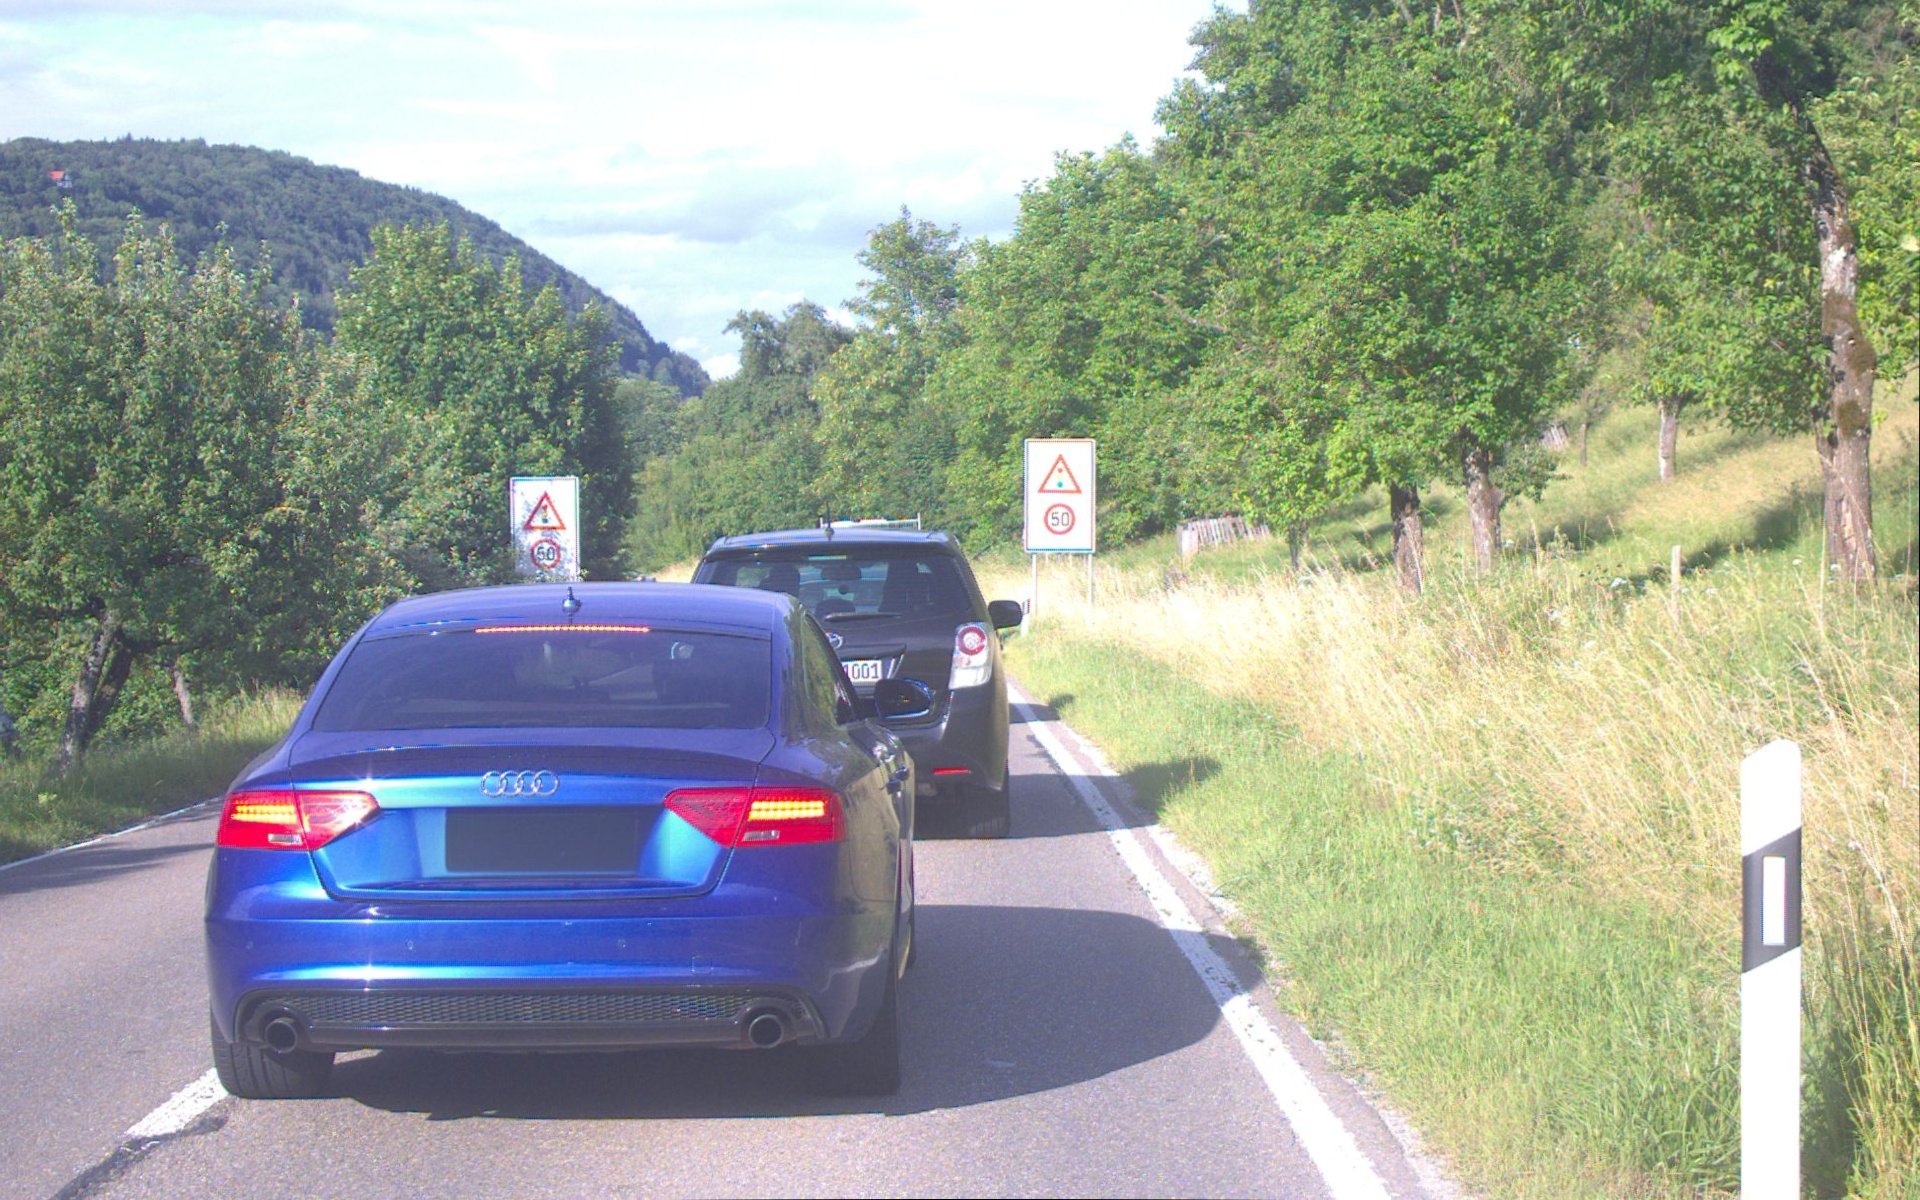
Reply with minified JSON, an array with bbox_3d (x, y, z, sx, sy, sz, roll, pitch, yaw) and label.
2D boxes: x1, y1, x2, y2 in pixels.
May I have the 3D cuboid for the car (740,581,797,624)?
[{"bbox_3d":[-7.083,0.068,127.008,1.747,1.490,3.779,1,1,-8],"label":"car"}]

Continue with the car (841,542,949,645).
[{"bbox_3d":[-1.045,-0.131,55.936,1.692,1.618,3.789,0,1,-1],"label":"car"}]

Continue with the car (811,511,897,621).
[{"bbox_3d":[-2.482,-0.788,79.733,1.792,2.445,3.920,1,1,-4],"label":"car"}]

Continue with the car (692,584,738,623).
[{"bbox_3d":[-10.126,0.147,141.970,1.558,1.490,3.779,1,1,-9],"label":"car"}]

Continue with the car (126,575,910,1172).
[{"bbox_3d":[-1.073,0.631,10.224,1.805,1.377,4.215,0,1,0],"label":"car"}]

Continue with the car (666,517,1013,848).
[{"bbox_3d":[-0.619,0.370,18.690,1.692,1.618,3.789,0,1,-1],"label":"car"}]

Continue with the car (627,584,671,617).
[{"bbox_3d":[-14.908,0.018,164.448,1.558,1.490,3.779,1,1,-13],"label":"car"}]

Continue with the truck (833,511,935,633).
[{"bbox_3d":[-1.561,-0.582,70.040,1.950,2.337,5.094,1,1,-2],"label":"truck"}]
